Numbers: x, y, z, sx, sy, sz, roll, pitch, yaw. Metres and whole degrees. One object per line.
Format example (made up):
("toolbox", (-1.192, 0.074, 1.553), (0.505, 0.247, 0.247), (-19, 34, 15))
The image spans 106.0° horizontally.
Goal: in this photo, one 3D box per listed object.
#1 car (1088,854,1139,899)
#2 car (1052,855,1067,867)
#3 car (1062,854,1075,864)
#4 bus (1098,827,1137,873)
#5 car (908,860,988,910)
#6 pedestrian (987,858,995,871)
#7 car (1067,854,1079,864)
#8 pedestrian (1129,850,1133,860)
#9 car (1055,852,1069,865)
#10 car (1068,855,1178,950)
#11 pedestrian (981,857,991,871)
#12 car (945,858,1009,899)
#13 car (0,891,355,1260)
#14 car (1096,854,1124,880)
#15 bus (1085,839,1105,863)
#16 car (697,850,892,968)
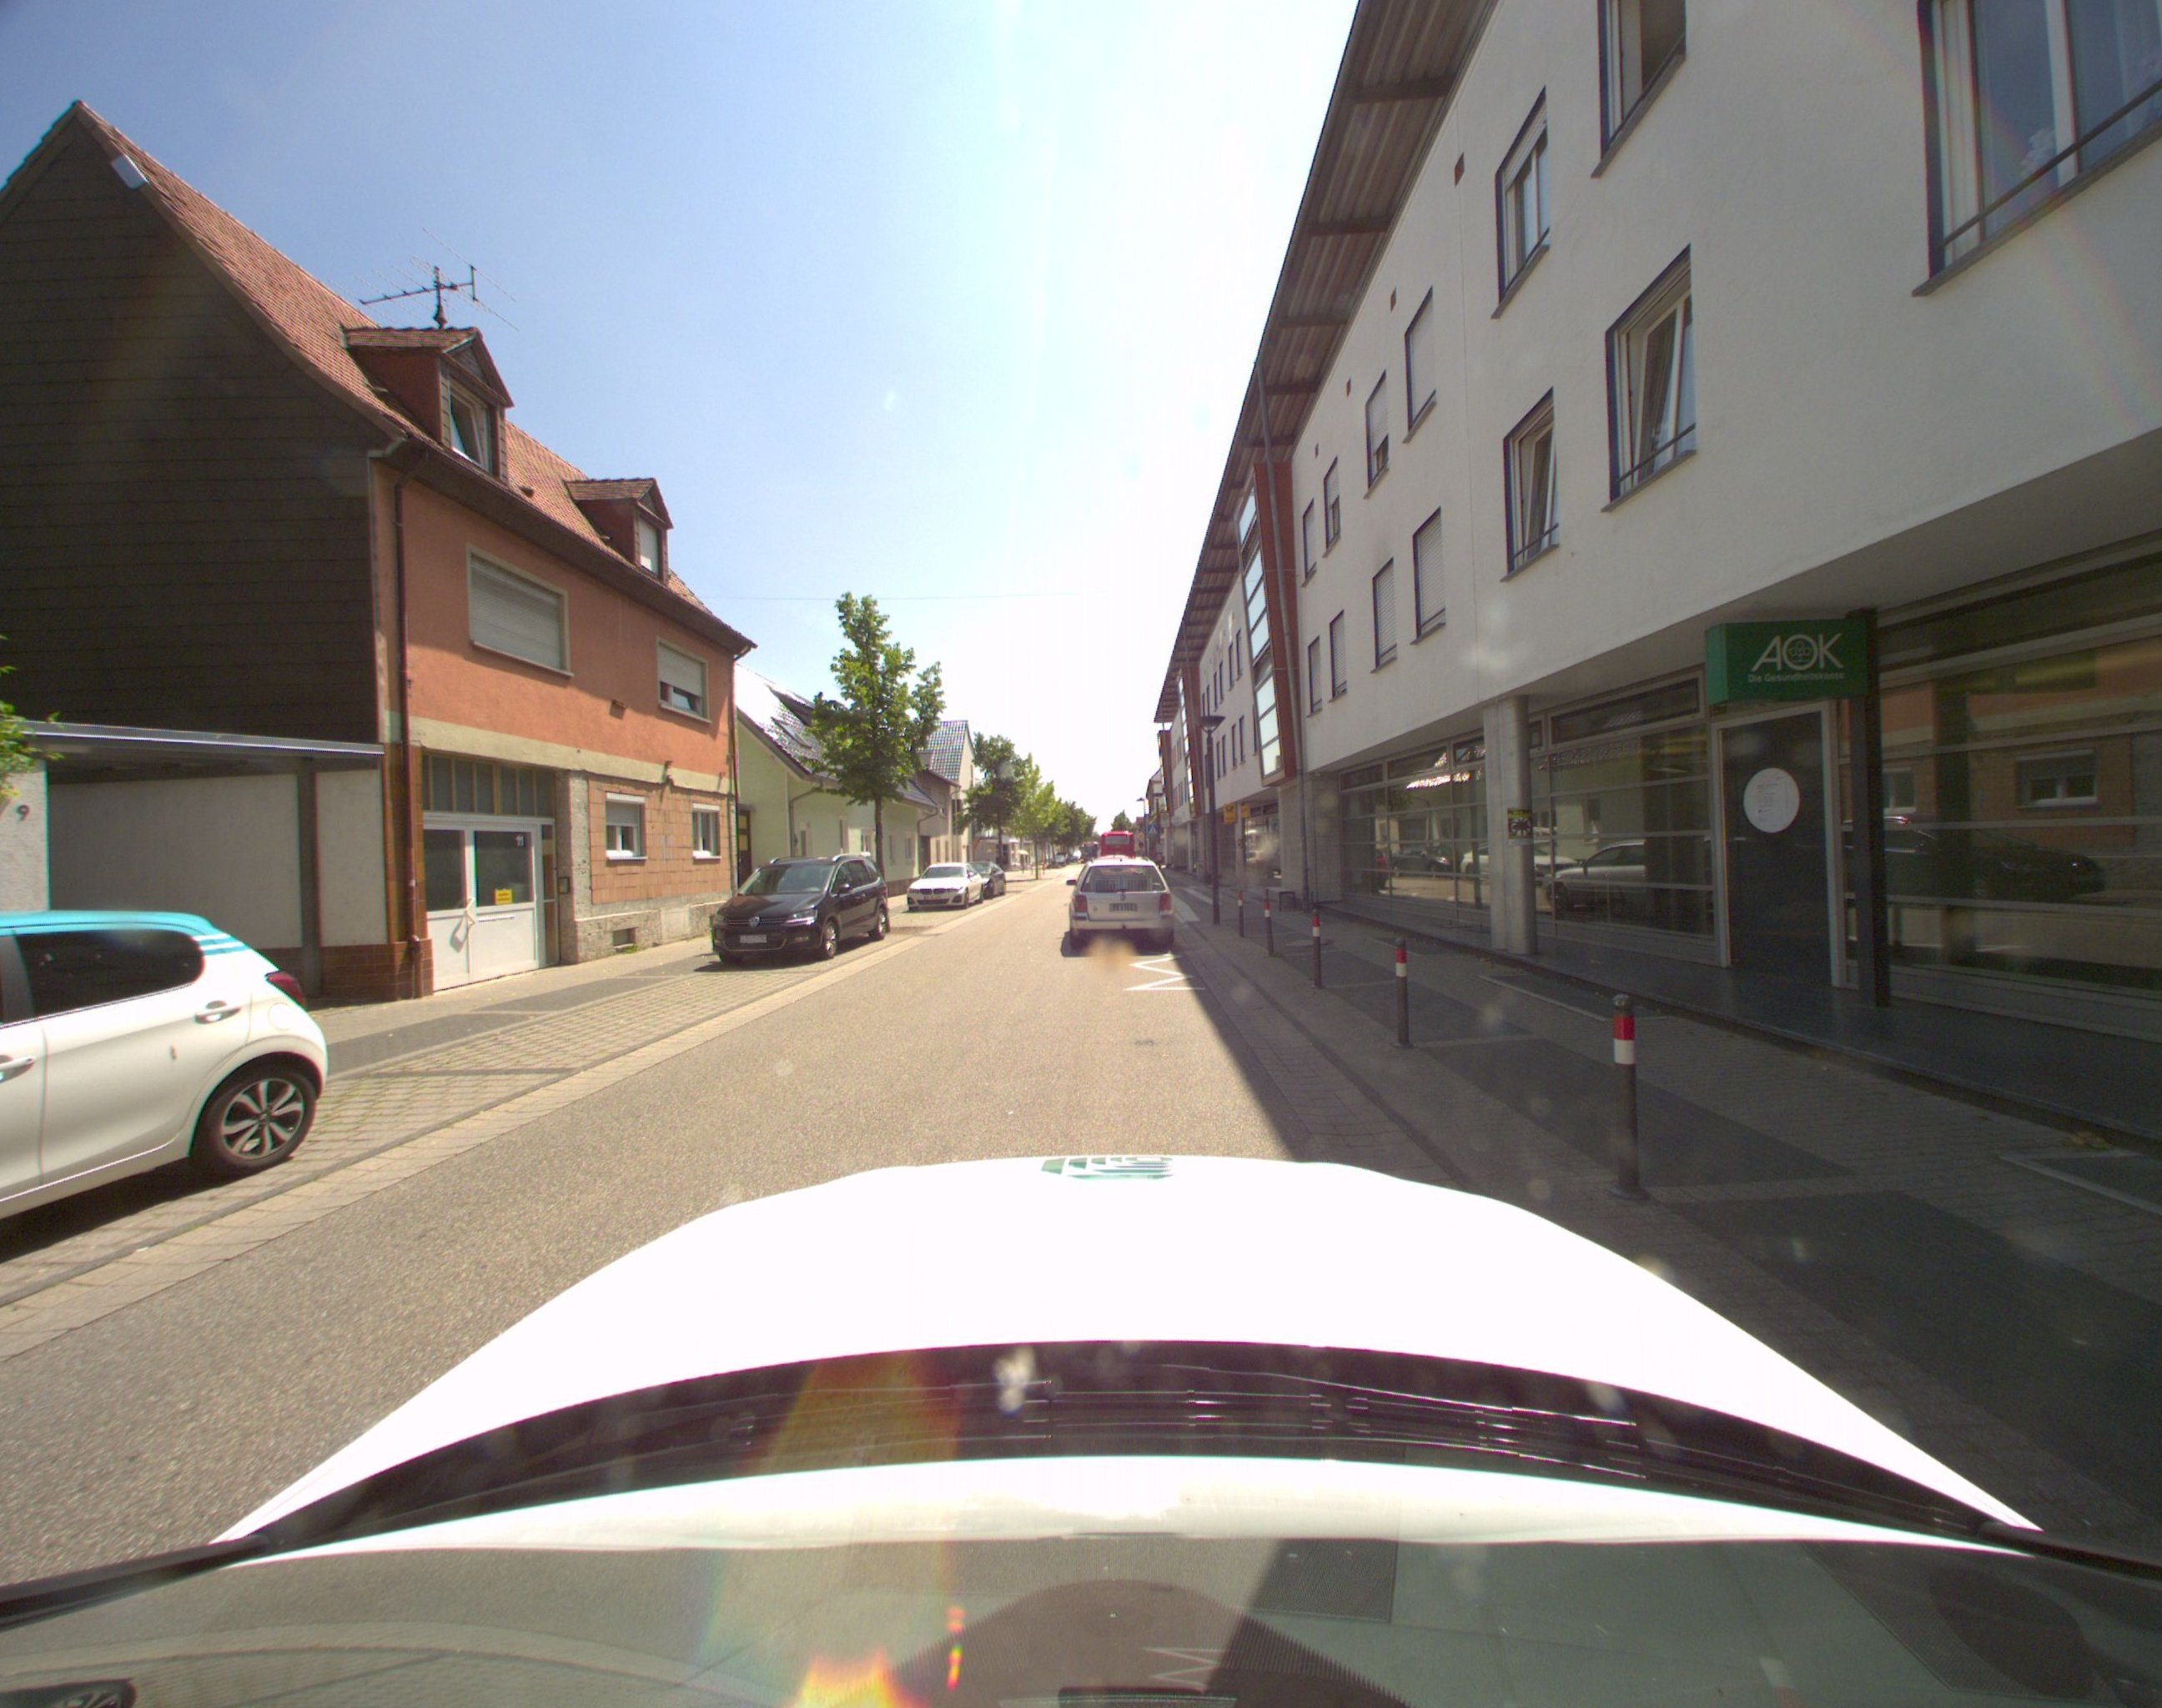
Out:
("car", (1.124, 0.739, 28.278), (1.670, 1.430, 3.681), (0, 0, 2))
("car", (-2.696, 0.858, 101.030), (1.599, 1.438, 4.067), (-2, 0, 2))
("car", (-1.997, 0.733, 128.041), (1.804, 1.559, 4.002), (-2, 0, 2))
("bus", (2.775, -0.280, 65.706), (2.731, 3.298, 12.706), (-1, 0, 1))
("car", (-4.273, 0.945, 26.857), (1.713, 1.437, 4.462), (-1, 0, 2))
("pedestrian", (-8.599, 0.971, 77.762), (0.620, 1.179, 0.696), (-2, 0, -2))
("car", (-1.255, 0.758, 134.189), (1.804, 1.559, 4.002), (-2, 0, 2))
("pedestrian", (7.844, 0.143, 127.275), (0.604, 1.667, 0.789), (-2, 0, 0))
("car", (-2.638, 0.619, 112.907), (1.758, 1.838, 3.790), (-2, 0, 2))
("car", (0.712, 0.745, 14.358), (1.670, 1.430, 3.681), (1, 0, 2))
("pedestrian", (-8.922, 0.902, 76.387), (0.639, 1.289, 0.780), (1, -1, -41))
("car", (-4.037, 0.928, 32.317), (1.654, 1.437, 4.542), (-2, 0, 3))
("car", (-5.215, 0.973, 3.186), (1.547, 1.430, 3.412), (-3, 0, 2))
("car", (1.714, 0.742, 47.491), (1.587, 1.430, 3.682), (0, 0, 3))
("bus", (2.113, -0.571, 126.249), (2.660, 3.123, 17.807), (-2, 2, 0))
("car", (-4.867, 0.830, 14.599), (1.769, 1.726, 4.520), (-2, 0, 1))
